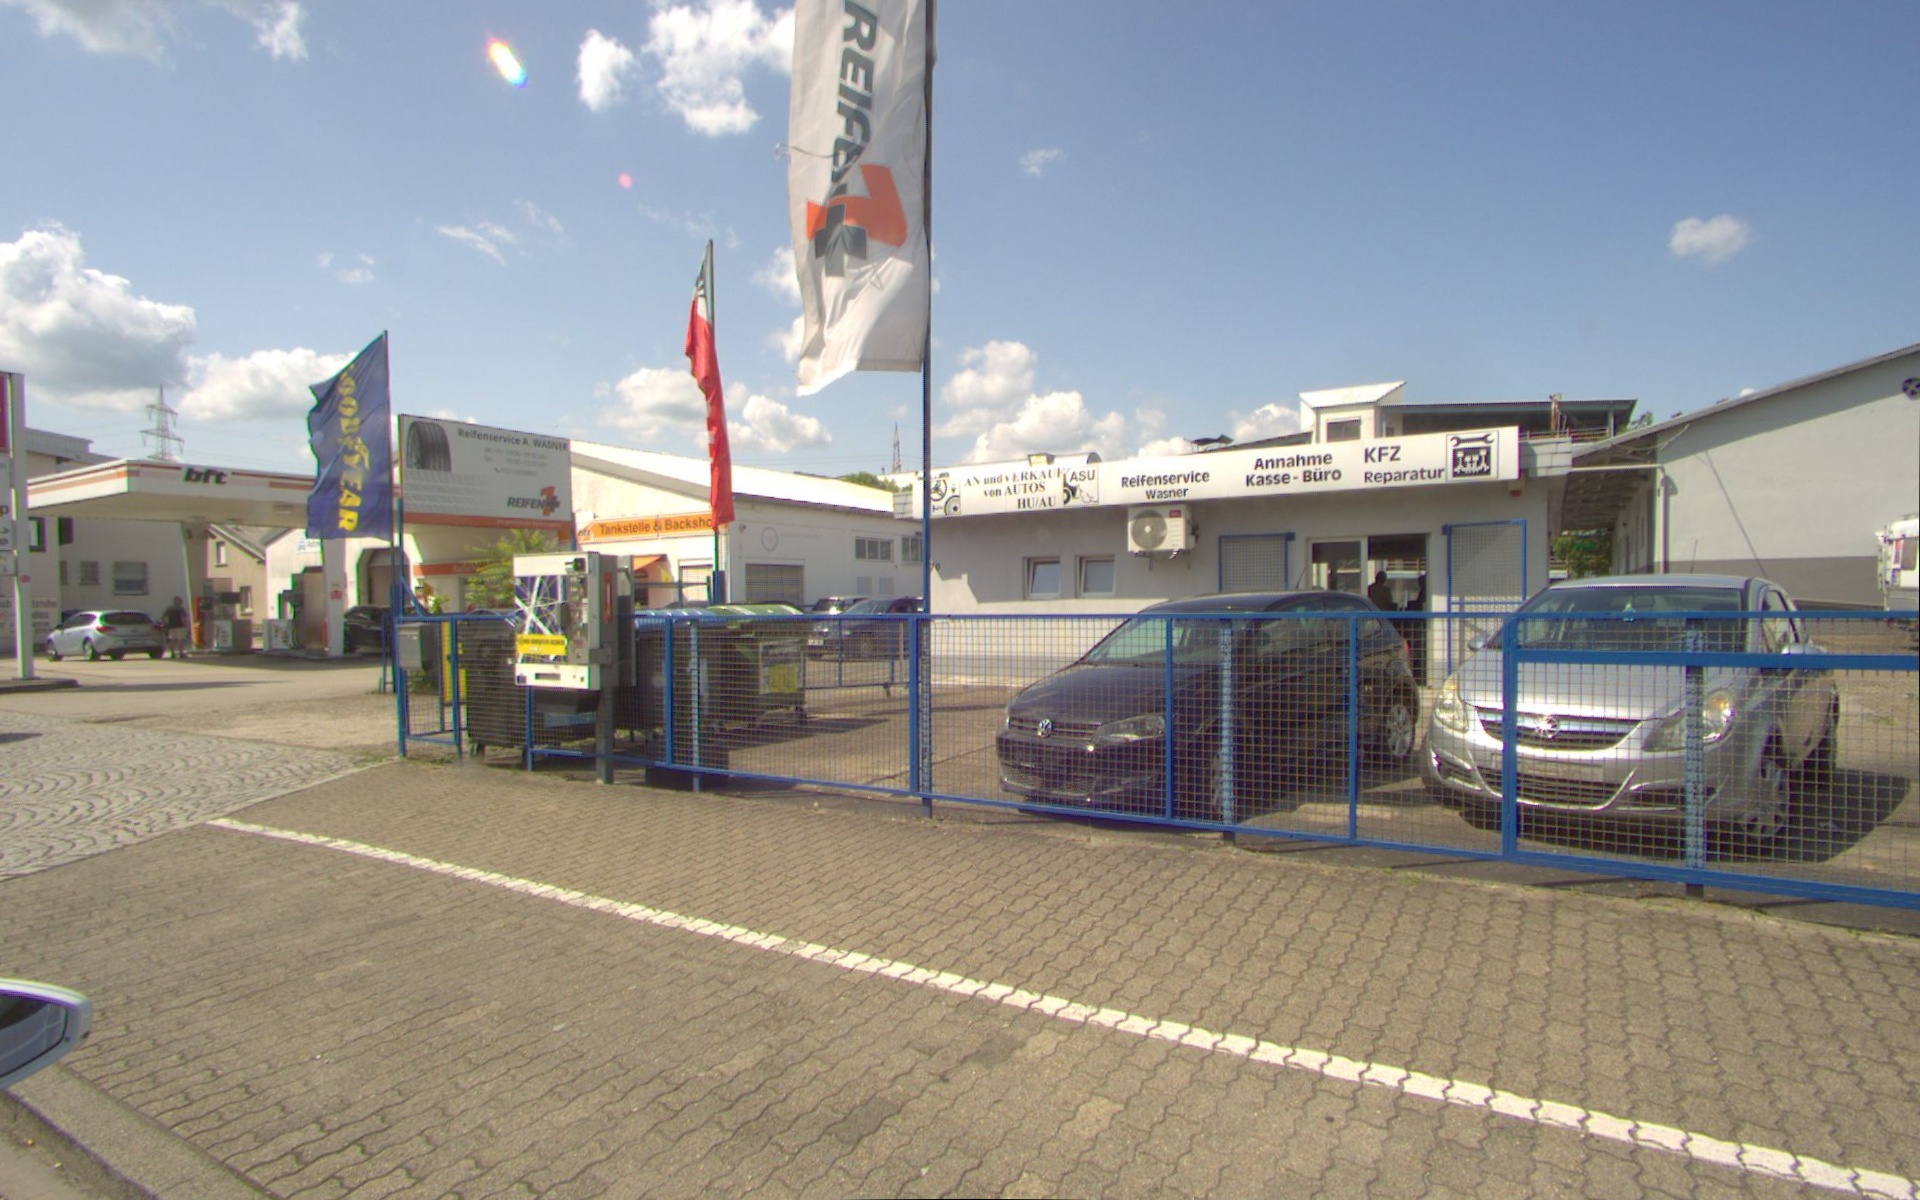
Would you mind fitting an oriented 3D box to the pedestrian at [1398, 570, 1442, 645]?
[{"bbox_3d":[8.372,0.149,18.219,0.689,1.318,0.633,-1,-1,29],"label":"pedestrian"}]

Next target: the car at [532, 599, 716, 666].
[{"bbox_3d":[-8.246,0.758,24.897,1.747,1.443,4.124,-1,0,33],"label":"car"}]

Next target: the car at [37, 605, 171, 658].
[{"bbox_3d":[-26.138,0.952,30.547,4.357,1.490,1.689,-1,1,30],"label":"car"}]

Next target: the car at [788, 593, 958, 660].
[{"bbox_3d":[-1.941,0.598,23.308,1.627,1.426,4.036,0,-1,39],"label":"car"}]

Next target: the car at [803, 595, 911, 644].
[{"bbox_3d":[-3.231,0.601,31.999,1.507,1.443,3.574,-1,0,33],"label":"car"}]

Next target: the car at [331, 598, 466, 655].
[{"bbox_3d":[-17.060,0.760,30.358,4.427,1.540,1.679,1,2,32],"label":"car"}]

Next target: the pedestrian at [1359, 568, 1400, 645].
[{"bbox_3d":[7.388,0.131,17.668,0.624,1.318,0.699,-1,-1,20],"label":"pedestrian"}]

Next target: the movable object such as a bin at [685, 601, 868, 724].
[{"bbox_3d":[-2.325,0.766,12.785,1.740,1.428,1.530,-1,-2,31],"label":"movable object such as a bin"}]

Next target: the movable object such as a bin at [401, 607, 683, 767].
[{"bbox_3d":[-4.054,0.789,9.844,1.684,1.364,1.960,-1,-2,31],"label":"movable object such as a bin"}]

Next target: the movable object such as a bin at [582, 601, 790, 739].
[{"bbox_3d":[-3.108,0.763,11.438,1.740,1.428,1.530,-1,-2,31],"label":"movable object such as a bin"}]

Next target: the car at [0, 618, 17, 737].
[{"bbox_3d":[-13.179,0.860,10.775,4.014,1.421,1.735,1,-2,-16],"label":"car"}]

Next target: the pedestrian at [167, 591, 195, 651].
[{"bbox_3d":[-23.793,0.641,30.594,0.569,1.799,0.496,-1,-1,30],"label":"pedestrian"}]

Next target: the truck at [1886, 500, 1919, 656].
[{"bbox_3d":[21.430,-0.499,19.206,5.014,3.050,2.149,-1,1,31],"label":"truck"}]

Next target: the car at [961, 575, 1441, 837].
[{"bbox_3d":[1.983,0.607,7.558,3.868,1.482,1.611,-1,-1,-42],"label":"car"}]

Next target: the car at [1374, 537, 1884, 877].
[{"bbox_3d":[4.592,0.551,6.599,4.219,1.524,1.811,2,-2,-42],"label":"car"}]
